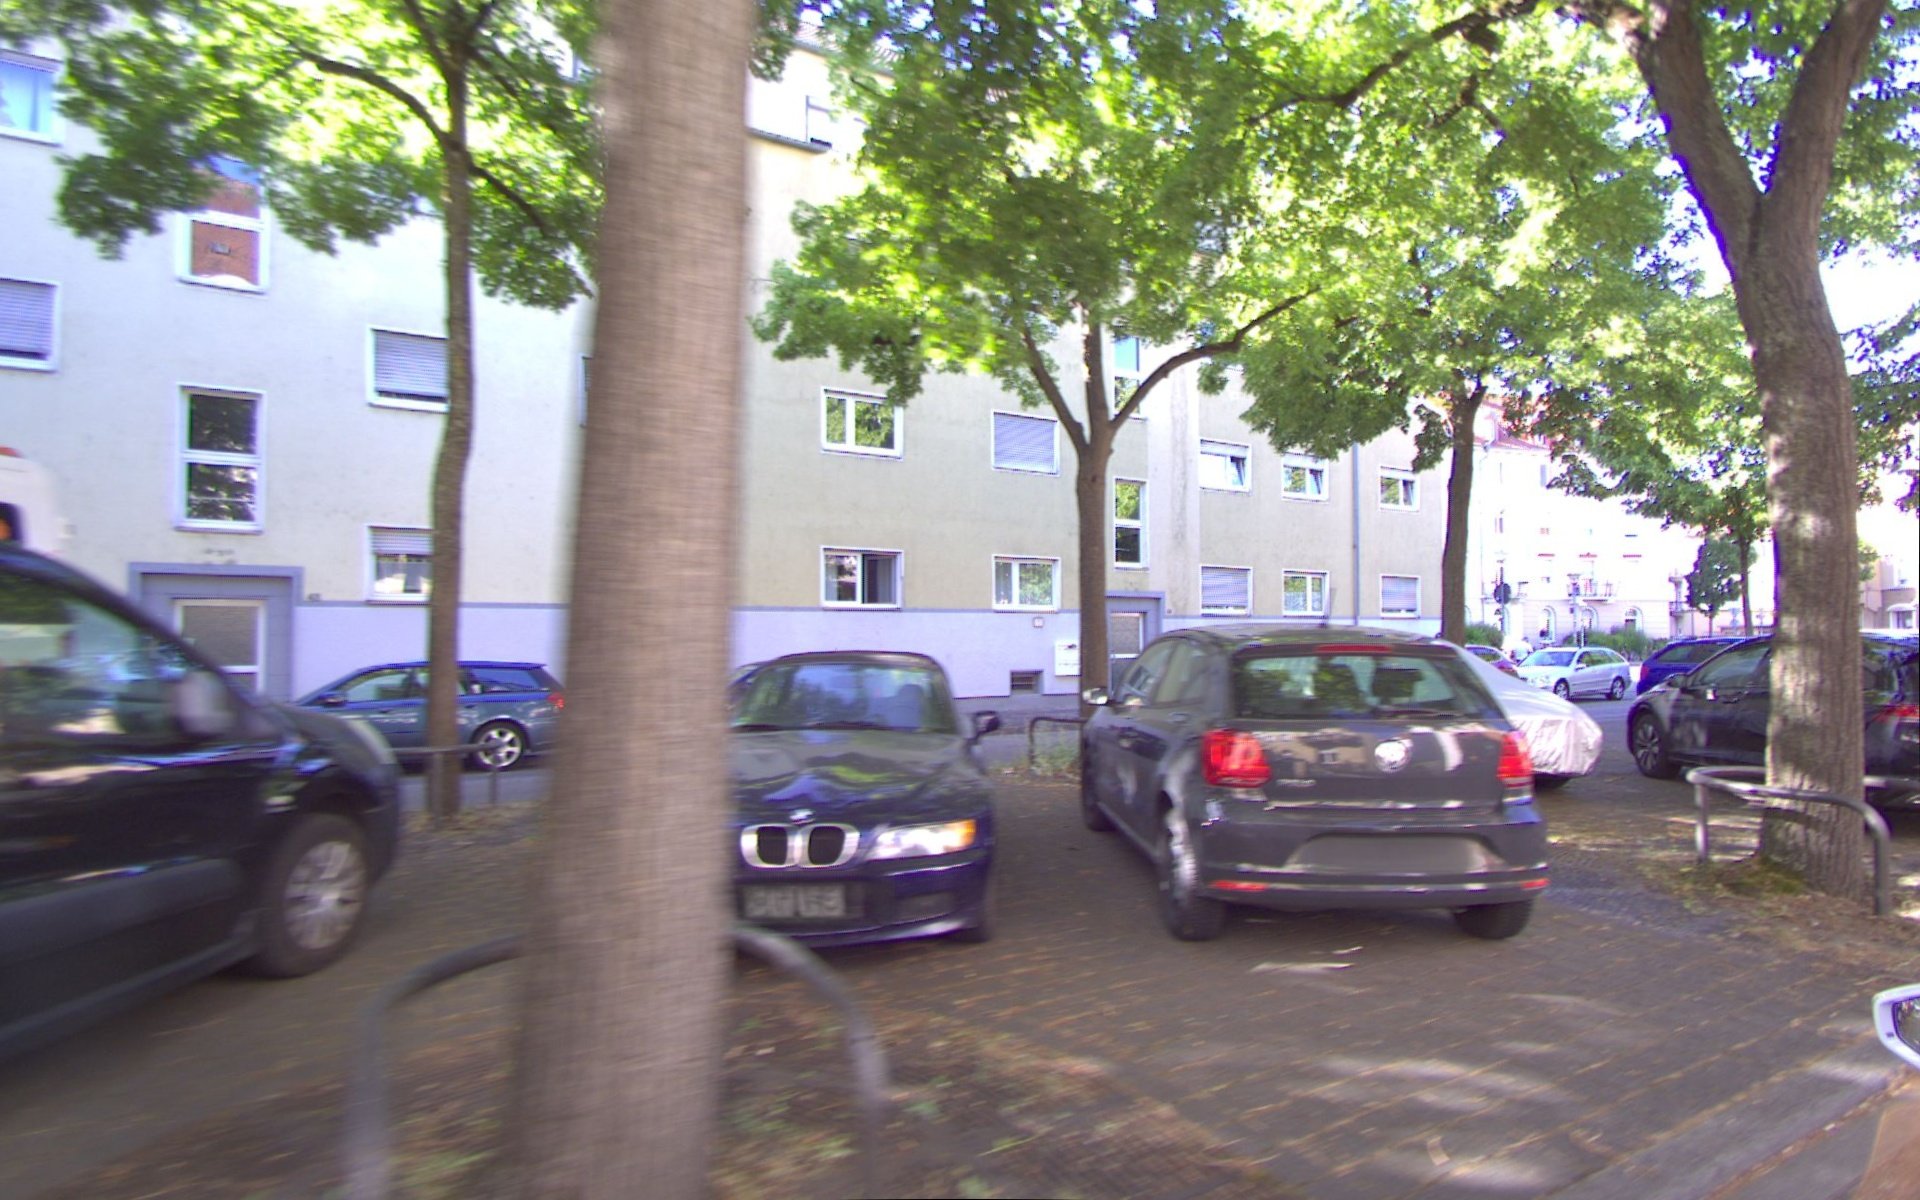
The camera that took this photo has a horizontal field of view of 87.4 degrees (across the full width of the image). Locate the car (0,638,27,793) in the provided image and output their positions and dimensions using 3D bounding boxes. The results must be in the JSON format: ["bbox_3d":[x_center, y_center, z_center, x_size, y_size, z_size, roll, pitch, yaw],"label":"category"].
[{"bbox_3d":[-12.740,1.274,10.175,4.508,1.745,1.732,1,-3,-32],"label":"car"}]

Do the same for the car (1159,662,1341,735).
[{"bbox_3d":[6.028,1.989,20.830,3.599,1.338,1.578,1,-4,-31],"label":"car"}]

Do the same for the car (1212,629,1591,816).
[{"bbox_3d":[4.204,1.086,10.392,1.831,1.485,4.099,2,-1,-5],"label":"car"}]

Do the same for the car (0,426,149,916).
[{"bbox_3d":[-6.624,0.274,3.378,2.405,2.657,6.090,0,-3,6],"label":"car"}]

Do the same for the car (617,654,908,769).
[{"bbox_3d":[-3.006,1.624,15.600,4.101,1.514,1.763,1,-3,-33],"label":"car"}]

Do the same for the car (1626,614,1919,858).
[{"bbox_3d":[7.480,0.928,8.340,1.796,1.574,4.157,0,-1,11],"label":"car"}]

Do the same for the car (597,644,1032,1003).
[{"bbox_3d":[-0.553,0.923,5.575,1.625,1.264,3.568,0,-1,0],"label":"car"}]

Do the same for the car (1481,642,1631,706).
[{"bbox_3d":[15.989,1.927,26.916,3.953,1.545,1.770,1,-1,-30],"label":"car"}]

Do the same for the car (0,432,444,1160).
[{"bbox_3d":[-3.430,0.526,2.707,1.806,1.913,3.854,-1,-2,6],"label":"car"}]

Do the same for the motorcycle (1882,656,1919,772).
[{"bbox_3d":[10.493,1.161,9.935,0.512,1.186,1.930,1,-3,-29],"label":"motorcycle"}]

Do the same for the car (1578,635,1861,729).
[{"bbox_3d":[13.406,1.412,18.017,1.619,1.485,3.787,0,-3,-18],"label":"car"}]

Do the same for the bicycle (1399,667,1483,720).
[{"bbox_3d":[10.271,1.978,21.439,1.890,1.048,0.598,1,-3,-28],"label":"bicycle"}]

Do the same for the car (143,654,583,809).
[{"bbox_3d":[-7.372,1.535,12.863,4.538,1.537,1.763,1,0,-31],"label":"car"}]

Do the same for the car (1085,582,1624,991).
[{"bbox_3d":[1.793,0.793,5.836,1.604,1.602,3.738,0,-2,-1],"label":"car"}]

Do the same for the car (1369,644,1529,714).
[{"bbox_3d":[11.874,1.858,24.331,4.120,1.546,1.521,1,-3,-32],"label":"car"}]

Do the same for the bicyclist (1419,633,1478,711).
[{"bbox_3d":[10.523,1.538,21.655,0.916,1.643,0.712,1,-2,-27],"label":"bicyclist"}]

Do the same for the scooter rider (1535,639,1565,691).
[{"bbox_3d":[18.075,1.986,30.779,0.595,1.549,0.526,-1,-2,7],"label":"scooter rider"}]
